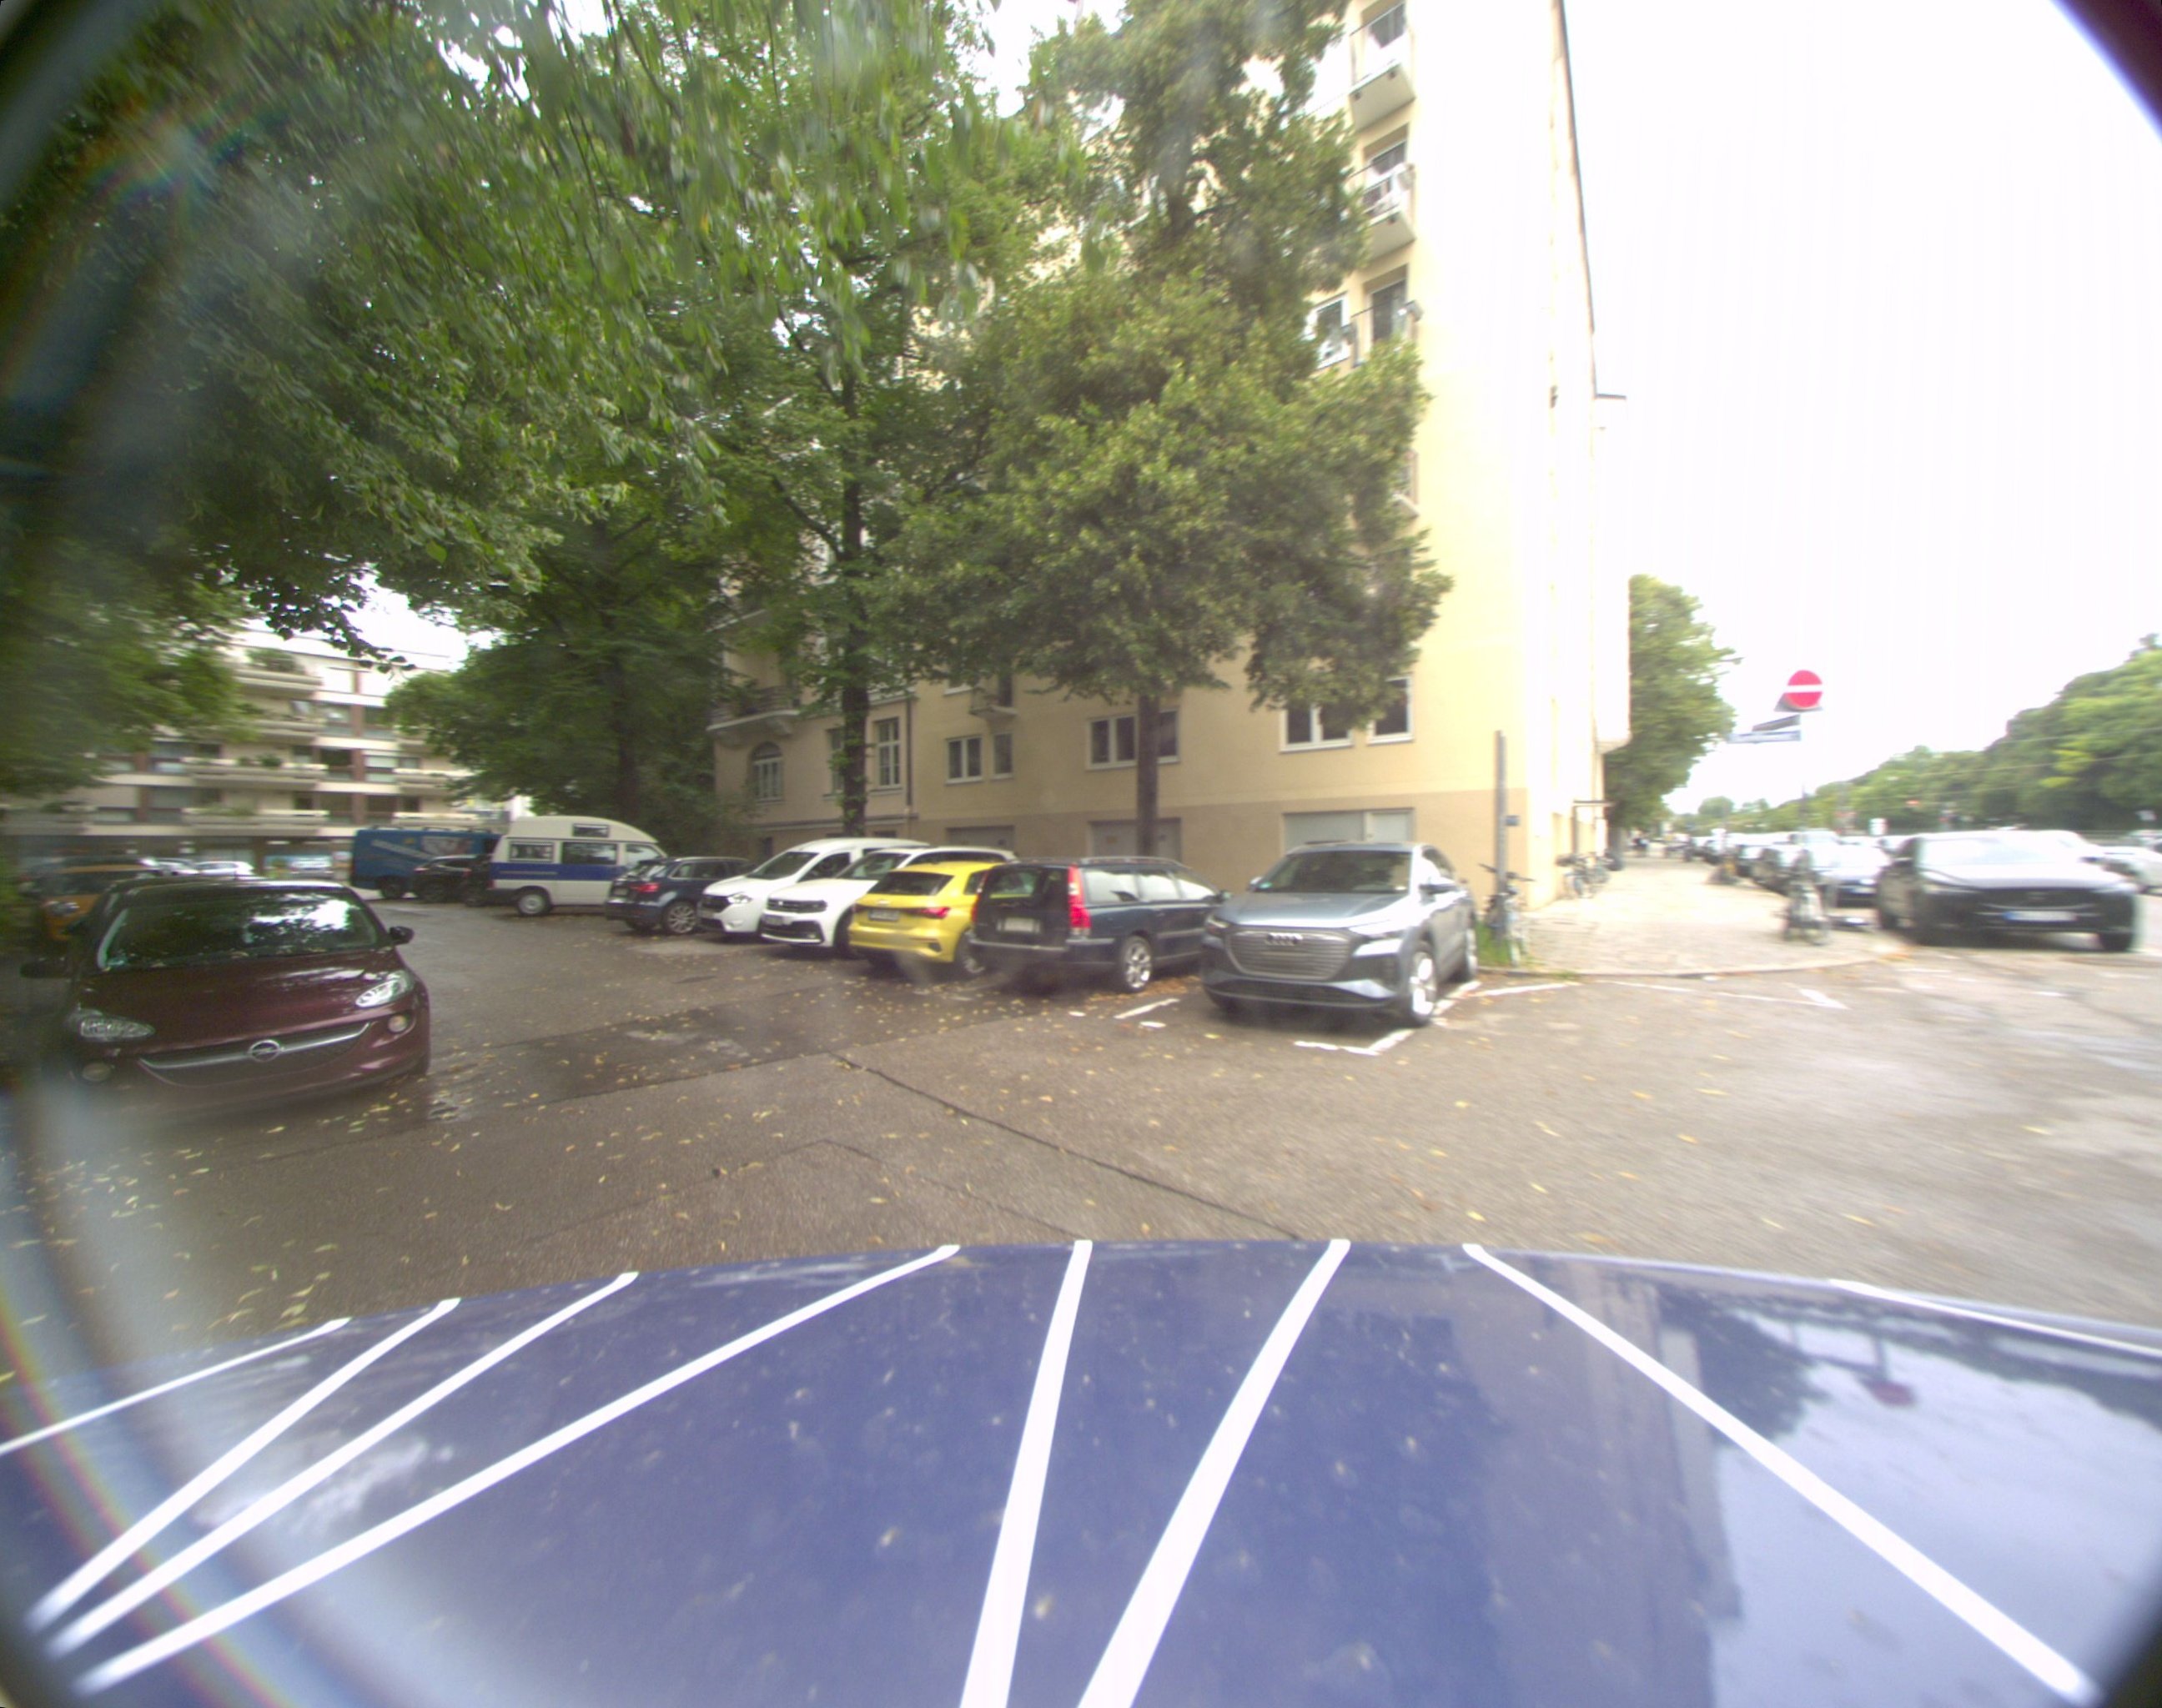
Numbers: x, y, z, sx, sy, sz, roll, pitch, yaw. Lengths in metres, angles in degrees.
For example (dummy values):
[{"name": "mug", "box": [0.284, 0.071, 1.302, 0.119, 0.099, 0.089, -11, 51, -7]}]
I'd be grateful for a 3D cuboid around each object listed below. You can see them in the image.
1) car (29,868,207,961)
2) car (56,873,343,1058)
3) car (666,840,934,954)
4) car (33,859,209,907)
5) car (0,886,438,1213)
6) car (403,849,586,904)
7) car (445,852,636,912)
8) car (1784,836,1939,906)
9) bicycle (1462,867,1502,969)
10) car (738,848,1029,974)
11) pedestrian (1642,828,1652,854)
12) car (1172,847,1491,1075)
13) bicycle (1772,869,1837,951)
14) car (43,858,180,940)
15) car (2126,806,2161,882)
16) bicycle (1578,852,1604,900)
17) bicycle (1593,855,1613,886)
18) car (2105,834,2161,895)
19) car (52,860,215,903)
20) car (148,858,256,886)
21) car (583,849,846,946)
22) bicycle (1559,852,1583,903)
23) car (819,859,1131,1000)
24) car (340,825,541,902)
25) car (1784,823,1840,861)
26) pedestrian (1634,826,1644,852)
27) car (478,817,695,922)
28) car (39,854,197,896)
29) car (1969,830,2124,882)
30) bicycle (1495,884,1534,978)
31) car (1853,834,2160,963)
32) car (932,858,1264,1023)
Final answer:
[{"name": "car", "box": [-17.649, 0.997, 13.898, 3.766, 1.430, 1.701, 0, 1, 34]}, {"name": "car", "box": [-9.828, 1.006, 8.396, 4.034, 1.488, 1.737, 0, 1, 37]}, {"name": "car", "box": [-4.986, 0.647, 14.043, 1.913, 1.741, 4.253, 0, 1, 37]}, {"name": "car", "box": [-33.681, 0.948, 26.757, 1.850, 1.470, 3.698, 0, 1, 34]}, {"name": "car", "box": [-6.334, 1.063, 5.665, 3.698, 1.488, 1.737, 0, 1, 41]}, {"name": "car", "box": [-18.372, 0.659, 24.019, 4.111, 1.594, 1.901, -1, 1, -14]}, {"name": "car", "box": [-15.697, 0.764, 22.324, 4.111, 1.594, 1.901, -1, 1, -15]}, {"name": "car", "box": [19.679, 0.362, 19.406, 2.125, 1.556, 4.516, -2, 0, 38]}, {"name": "bicycle", "box": [5.301, 0.807, 10.024, 0.281, 1.224, 1.241, 0, 1, 37]}, {"name": "car", "box": [-2.952, 0.742, 12.229, 1.913, 1.611, 4.253, 0, 1, 36]}, {"name": "pedestrian", "box": [44.987, -1.025, 60.387, 0.457, 2.002, 0.619, 0, 1, 21]}, {"name": "car", "box": [2.761, 0.747, 7.595, 1.821, 1.556, 4.253, 0, 1, 36]}, {"name": "bicycle", "box": [10.517, 0.772, 11.032, 0.631, 1.032, 1.739, 1, 2, 45]}, {"name": "car", "box": [-21.603, 0.901, 16.983, 4.096, 1.589, 1.701, 0, 1, 38]}, {"name": "car", "box": [28.840, -0.260, 19.001, 1.994, 2.002, 4.008, 0, 1, 35]}, {"name": "bicycle", "box": [12.924, 0.547, 19.275, 0.400, 1.164, 1.321, 0, 1, 28]}, {"name": "bicycle", "box": [17.161, 0.529, 25.007, 0.462, 0.999, 1.322, 0, 1, 31]}, {"name": "car", "box": [27.282, 0.244, 18.254, 1.988, 1.447, 4.291, 0, 1, 36]}, {"name": "car", "box": [-35.678, 0.985, 28.695, 1.850, 1.385, 3.698, 0, 1, 34]}, {"name": "car", "box": [-47.303, 0.925, 40.948, 1.850, 1.348, 3.698, 0, 1, 39]}, {"name": "car", "box": [-7.076, 0.724, 15.085, 1.913, 1.590, 4.253, 0, 1, 37]}, {"name": "bicycle", "box": [11.693, 0.536, 18.139, 0.363, 1.164, 1.321, 0, 1, 28]}, {"name": "car", "box": [-1.249, 0.857, 10.711, 1.913, 1.459, 4.253, 0, 1, 36]}, {"name": "car", "box": [-21.369, 0.266, 25.619, 4.694, 2.398, 1.975, -1, 1, -18]}, {"name": "car", "box": [44.459, -0.778, 46.290, 1.853, 2.198, 4.561, -1, 2, 36]}, {"name": "pedestrian", "box": [44.188, -1.174, 60.170, 0.457, 2.002, 0.619, 0, 1, 21]}, {"name": "car", "box": [-11.837, 0.297, 18.531, 4.187, 2.300, 1.899, -1, 1, -29]}, {"name": "car", "box": [-37.829, 0.793, 29.934, 1.850, 1.470, 3.698, 0, 1, 34]}, {"name": "car", "box": [34.071, 0.023, 27.021, 2.070, 1.692, 5.100, 0, 1, 36]}, {"name": "bicycle", "box": [5.486, 0.933, 9.591, 0.281, 1.055, 1.241, 0, 1, 37]}, {"name": "car", "box": [13.605, 0.521, 11.567, 2.125, 1.556, 4.516, -2, 0, 40]}, {"name": "car", "box": [0.460, 0.833, 9.454, 2.049, 1.459, 4.253, 0, 1, 36]}]
